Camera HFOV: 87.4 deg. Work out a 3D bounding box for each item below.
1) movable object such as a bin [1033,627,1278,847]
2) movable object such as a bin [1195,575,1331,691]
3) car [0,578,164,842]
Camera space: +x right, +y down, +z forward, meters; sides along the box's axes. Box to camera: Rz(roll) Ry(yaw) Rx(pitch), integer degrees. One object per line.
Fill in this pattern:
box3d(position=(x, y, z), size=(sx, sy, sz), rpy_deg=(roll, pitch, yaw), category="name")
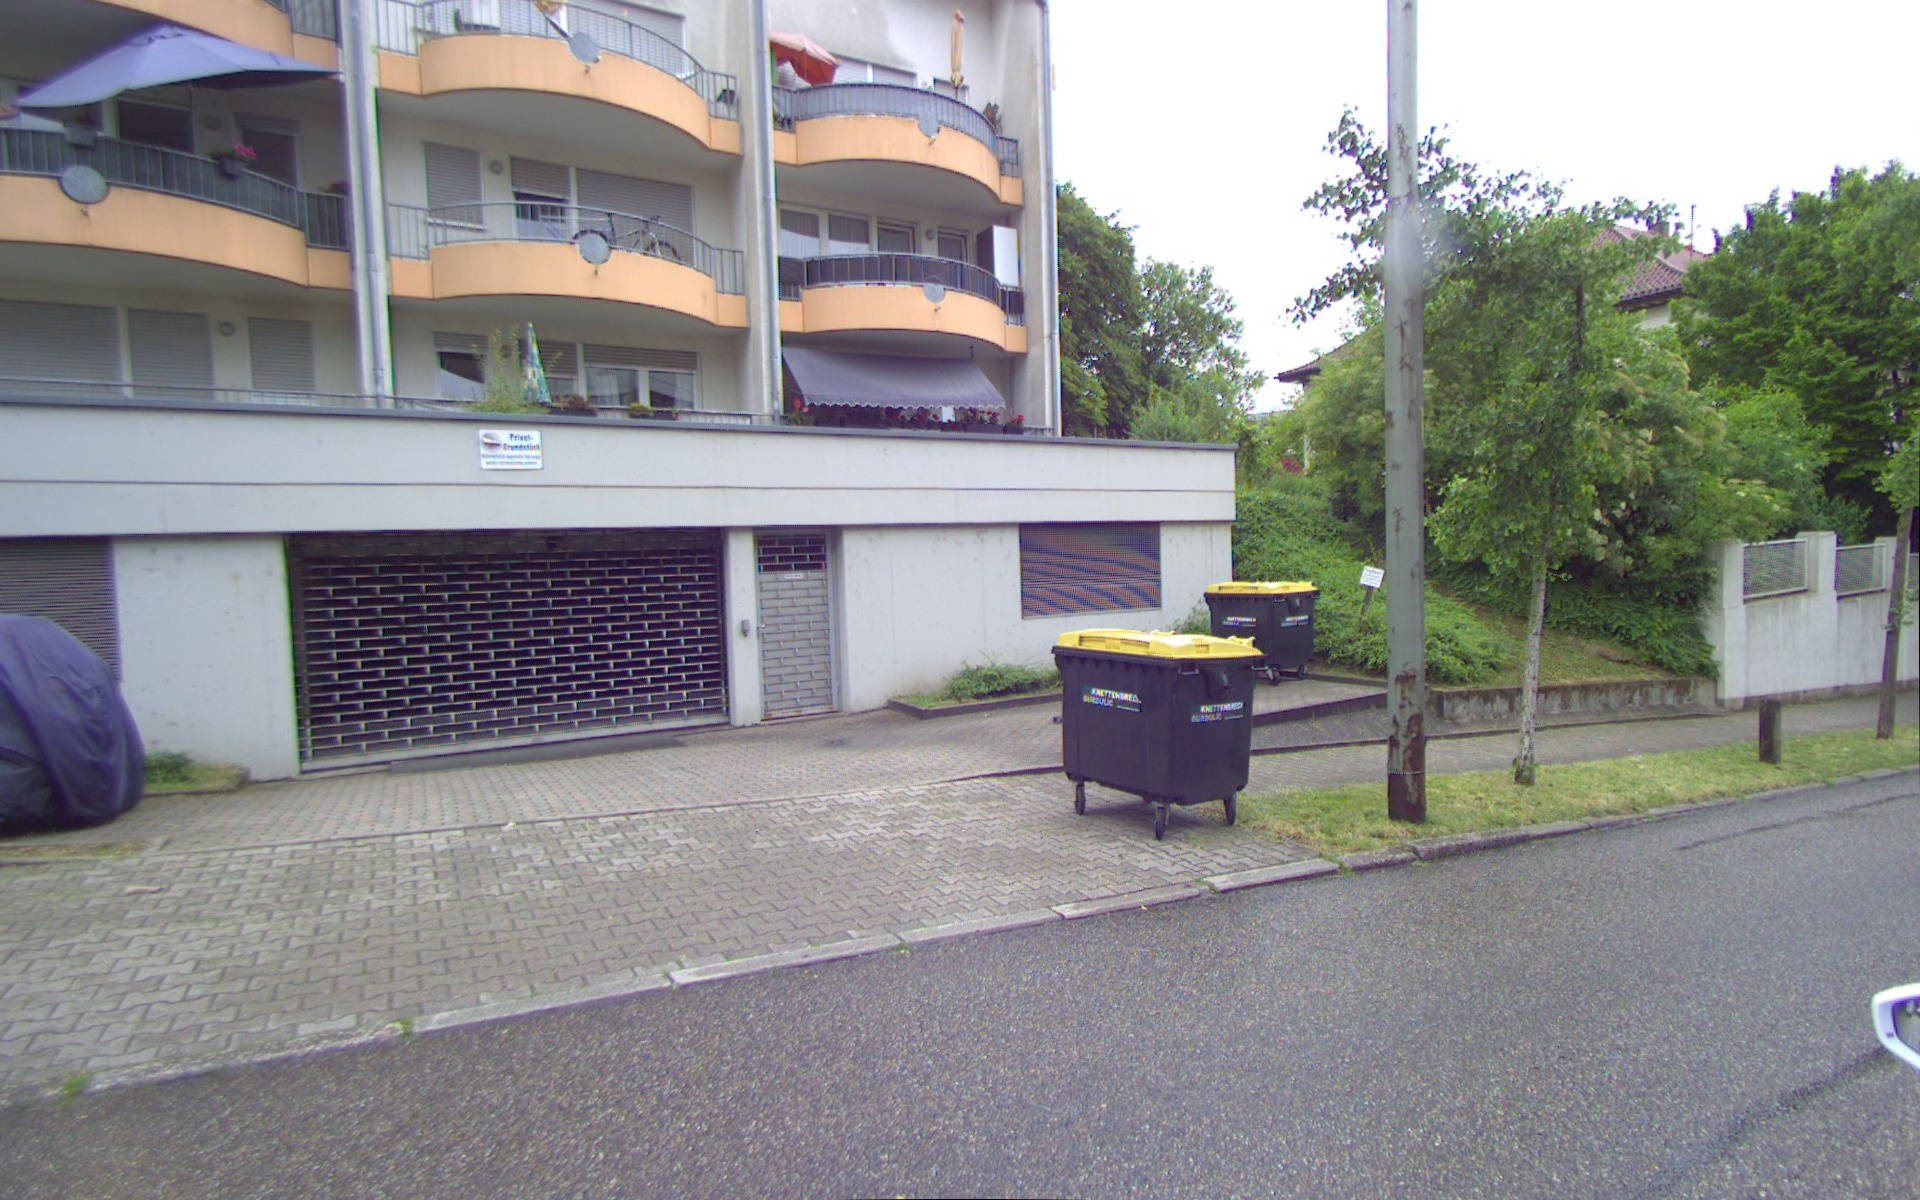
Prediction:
box3d(position=(1.389, 0.895, 7.245), size=(1.145, 1.324, 1.288), rpy_deg=(0, 2, -38), category="movable object such as a bin")
box3d(position=(4.146, 0.403, 13.768), size=(1.215, 1.383, 1.289), rpy_deg=(-7, 6, -36), category="movable object such as a bin")
box3d(position=(-7.516, 0.681, 6.010), size=(4.050, 1.582, 1.770), rpy_deg=(1, -4, -31), category="car")
